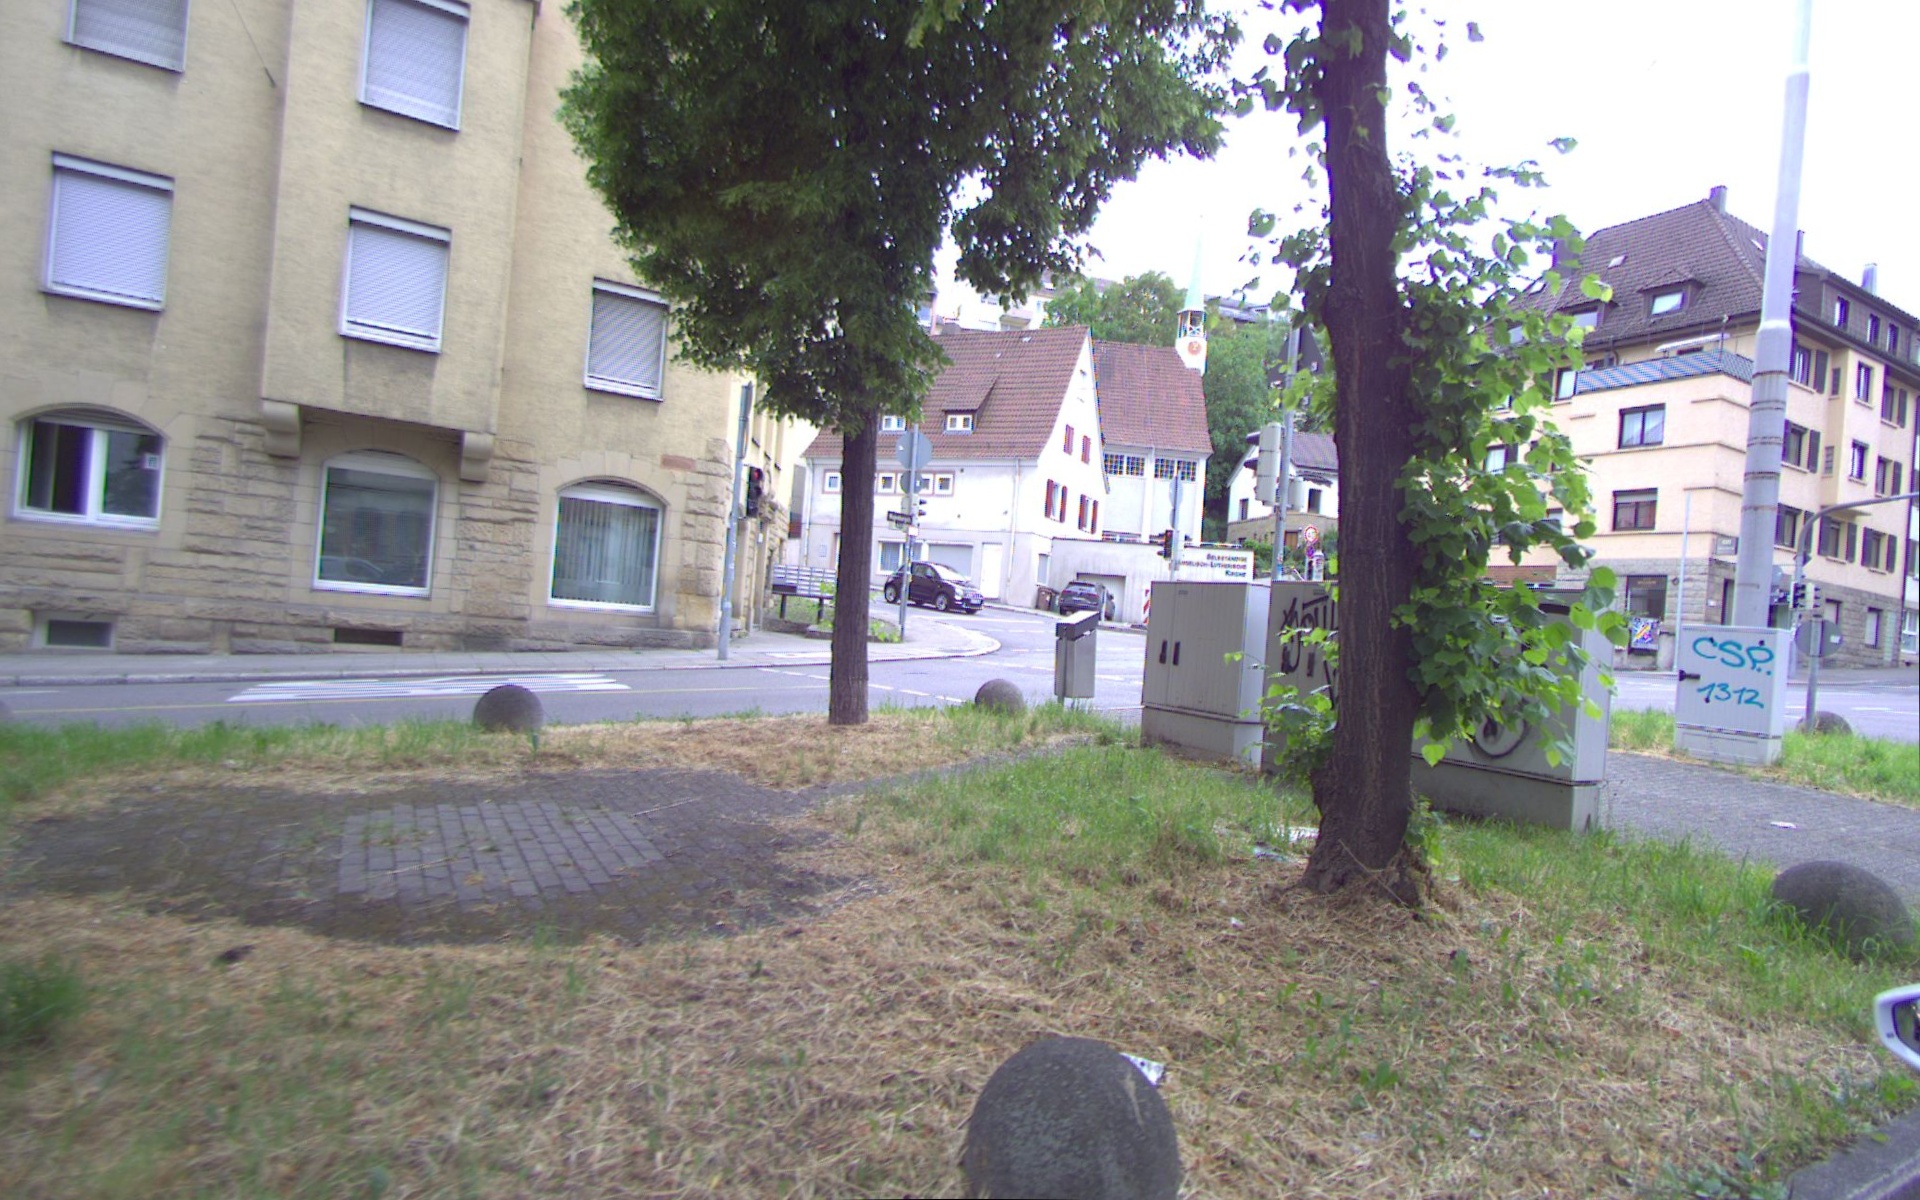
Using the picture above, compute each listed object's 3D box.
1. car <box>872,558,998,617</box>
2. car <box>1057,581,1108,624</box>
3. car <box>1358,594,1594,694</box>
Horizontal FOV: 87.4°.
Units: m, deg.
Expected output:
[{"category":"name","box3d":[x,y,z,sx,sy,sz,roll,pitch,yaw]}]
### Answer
[{"category":"car","box3d":[-0.819,-0.418,32.584,3.652,1.461,1.756,8,3,34]},{"category":"car","box3d":[4.937,0.072,40.766,1.639,1.423,3.057,7,3,2]},{"category":"car","box3d":[8.731,0.749,16.964,3.774,1.500,1.613,3,-1,-27]}]
